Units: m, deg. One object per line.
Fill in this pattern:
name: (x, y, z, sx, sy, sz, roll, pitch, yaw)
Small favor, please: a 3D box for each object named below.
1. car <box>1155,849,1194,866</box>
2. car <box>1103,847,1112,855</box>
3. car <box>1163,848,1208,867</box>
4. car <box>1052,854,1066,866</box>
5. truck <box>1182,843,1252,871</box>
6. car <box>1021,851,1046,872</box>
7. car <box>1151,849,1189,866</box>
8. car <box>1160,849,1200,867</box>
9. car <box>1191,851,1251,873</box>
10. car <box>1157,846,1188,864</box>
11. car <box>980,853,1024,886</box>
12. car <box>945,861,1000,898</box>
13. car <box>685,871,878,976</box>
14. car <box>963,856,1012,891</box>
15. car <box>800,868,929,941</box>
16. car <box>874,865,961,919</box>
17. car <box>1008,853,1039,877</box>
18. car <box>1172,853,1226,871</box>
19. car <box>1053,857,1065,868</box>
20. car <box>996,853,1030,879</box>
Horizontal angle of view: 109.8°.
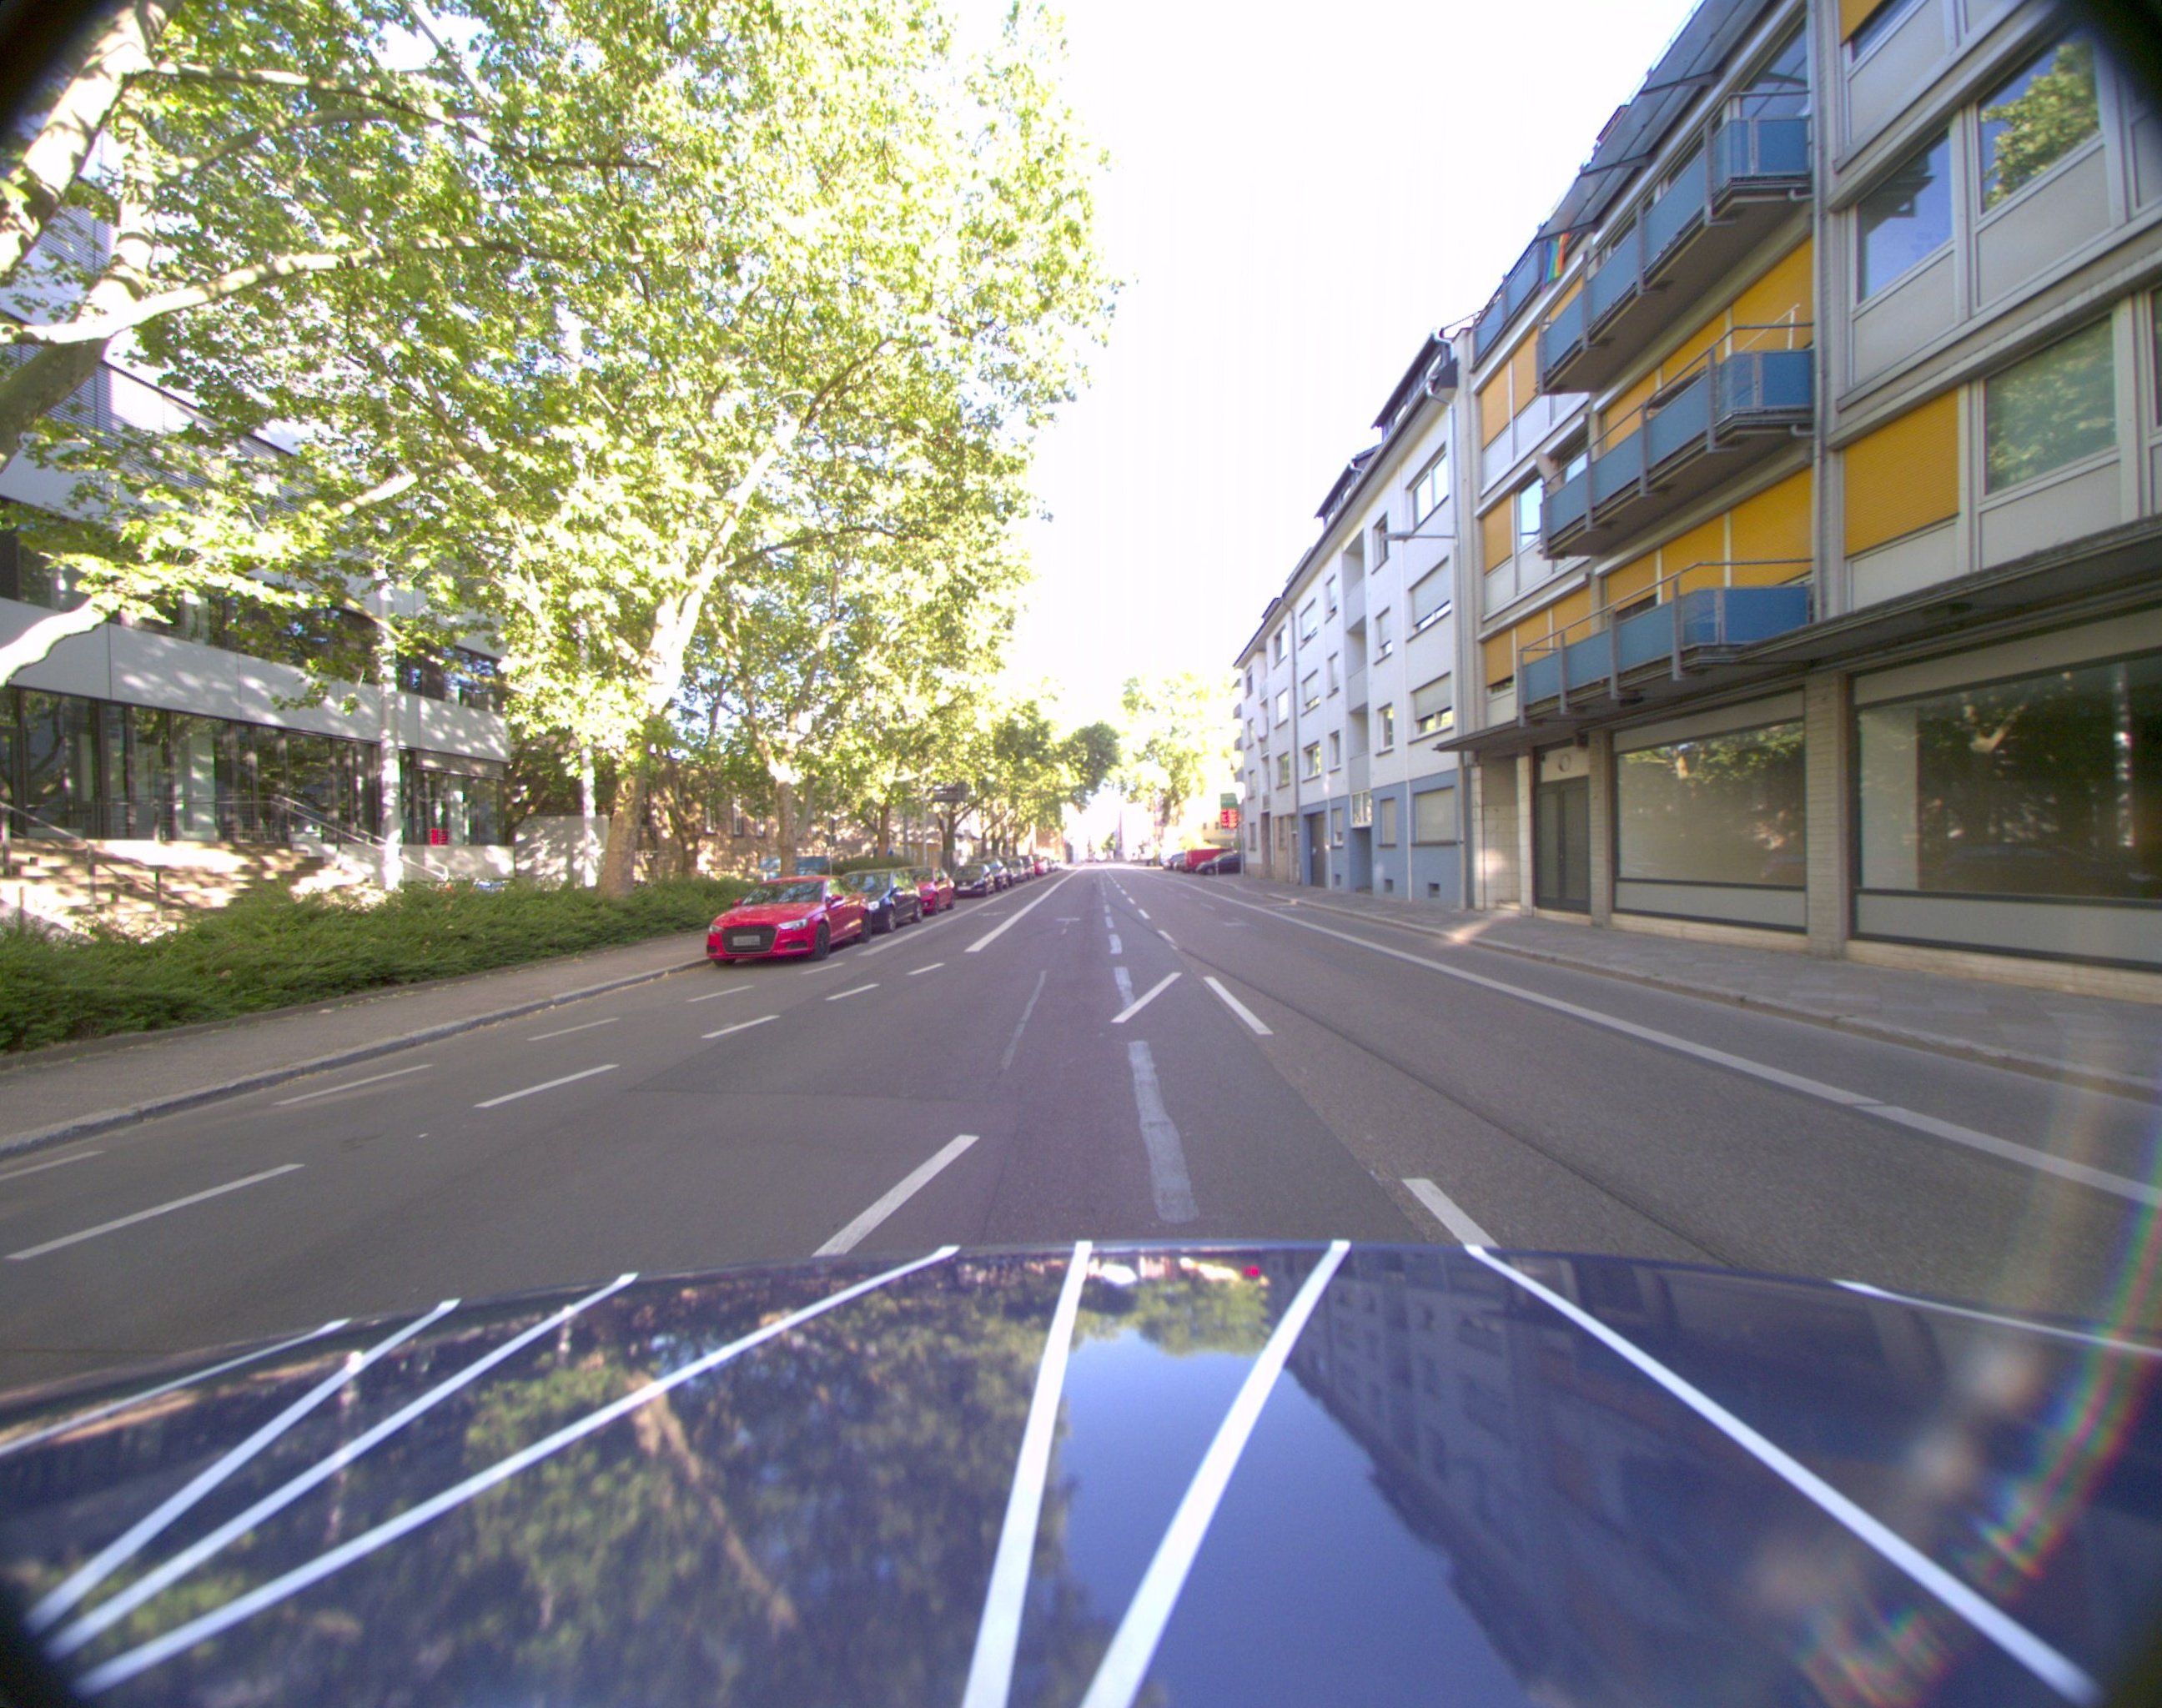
car: (9.613, 0.380, 78.567, 3.703, 1.573, 1.718, -2, 1, -5)
car: (6.760, -0.791, 193.460, 1.998, 2.002, 3.999, -2, 1, 1)
car: (10.078, 0.341, 73.360, 3.998, 1.618, 1.702, -2, 1, -5)
car: (-2.956, 0.819, 102.874, 1.707, 1.459, 3.809, -1, 0, 0)
truck: (10.726, 0.240, 60.095, 5.088, 2.009, 2.000, -2, 1, 0)
car: (-4.109, 0.617, 66.178, 1.876, 1.685, 4.166, -1, 0, 1)
car: (9.484, 0.376, 80.858, 3.728, 1.579, 1.743, -2, 1, -5)
car: (9.878, 0.384, 75.909, 3.658, 1.578, 1.659, -2, 1, -5)
car: (10.067, 0.560, 54.844, 3.997, 1.385, 1.781, -2, 1, -1)
car: (10.229, 0.110, 85.265, 3.267, 1.927, 1.693, -2, 1, 2)
car: (-4.546, 0.870, 44.191, 1.998, 1.715, 4.262, -2, 1, 1)
car: (-4.678, 1.083, 33.261, 1.745, 1.430, 4.000, -1, 0, 1)
car: (-5.131, 1.115, 13.698, 1.775, 1.416, 4.173, -3, 0, 0)
car: (-4.624, 0.922, 38.207, 1.848, 1.572, 4.232, -2, 0, 1)
car: (-5.049, 1.125, 18.296, 1.813, 1.449, 4.000, -1, 0, 2)
car: (-4.984, 1.116, 23.706, 1.790, 1.429, 4.000, -1, 0, 1)
car: (-4.170, 0.752, 55.508, 1.831, 1.608, 4.177, -1, 0, 1)
car: (9.723, 0.661, 62.822, 4.033, 1.265, 1.906, -2, 1, -1)
car: (-2.630, 1.031, 92.350, 1.300, 1.220, 3.241, -1, 0, 0)
car: (-4.442, 0.741, 50.452, 1.798, 1.608, 4.075, -1, 0, 1)
